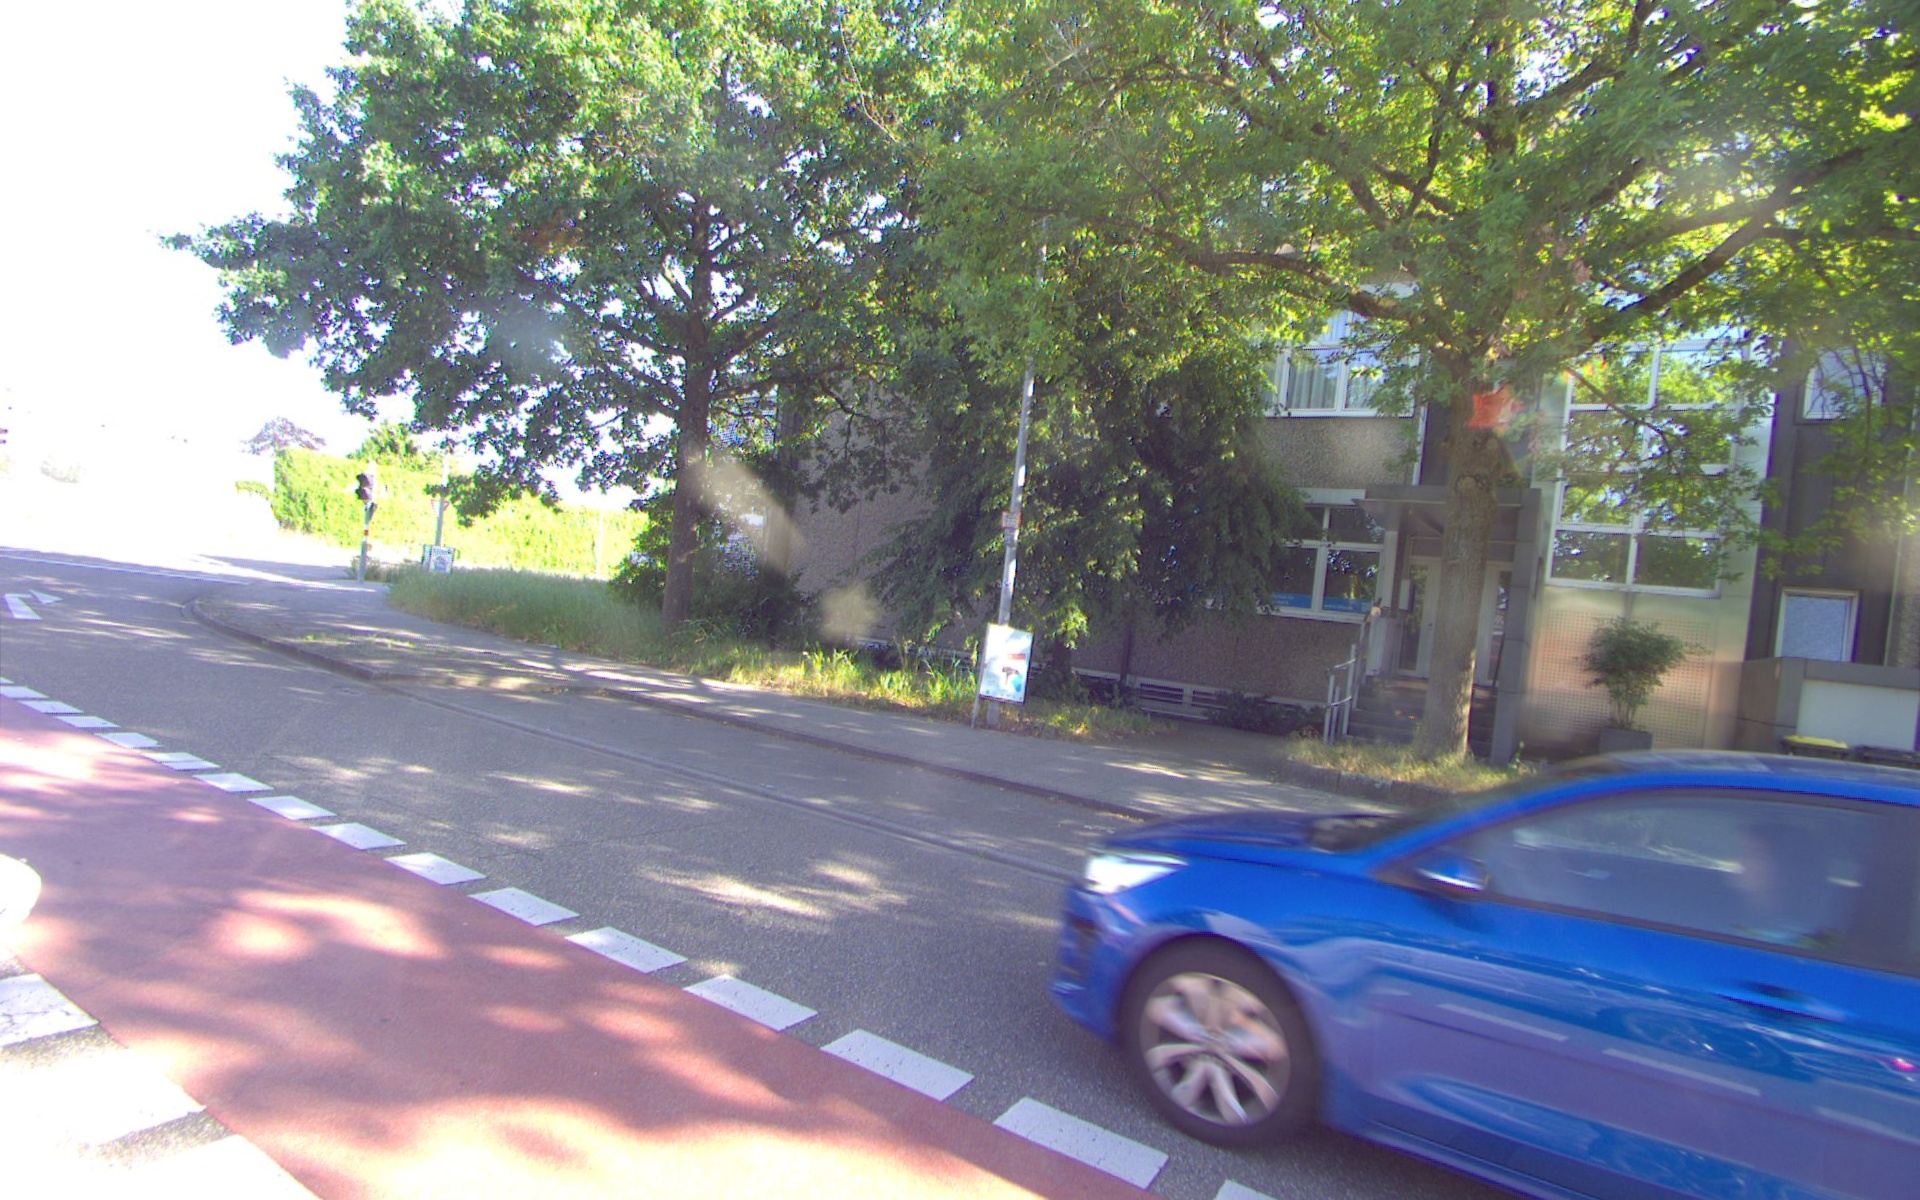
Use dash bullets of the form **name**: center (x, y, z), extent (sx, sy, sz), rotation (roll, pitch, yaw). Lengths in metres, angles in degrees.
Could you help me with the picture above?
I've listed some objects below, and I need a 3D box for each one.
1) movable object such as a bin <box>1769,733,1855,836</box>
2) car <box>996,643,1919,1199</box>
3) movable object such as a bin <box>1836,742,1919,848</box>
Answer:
- **movable object such as a bin**: center (10.159, 2.181, 12.016), extent (0.575, 1.070, 0.625), rotation (7, 0, 30)
- **car**: center (2.250, 1.153, 3.135), extent (3.879, 1.486, 1.651), rotation (7, -1, 36)
- **movable object such as a bin**: center (10.747, 2.250, 11.723), extent (0.605, 1.075, 0.634), rotation (6, 0, 30)
